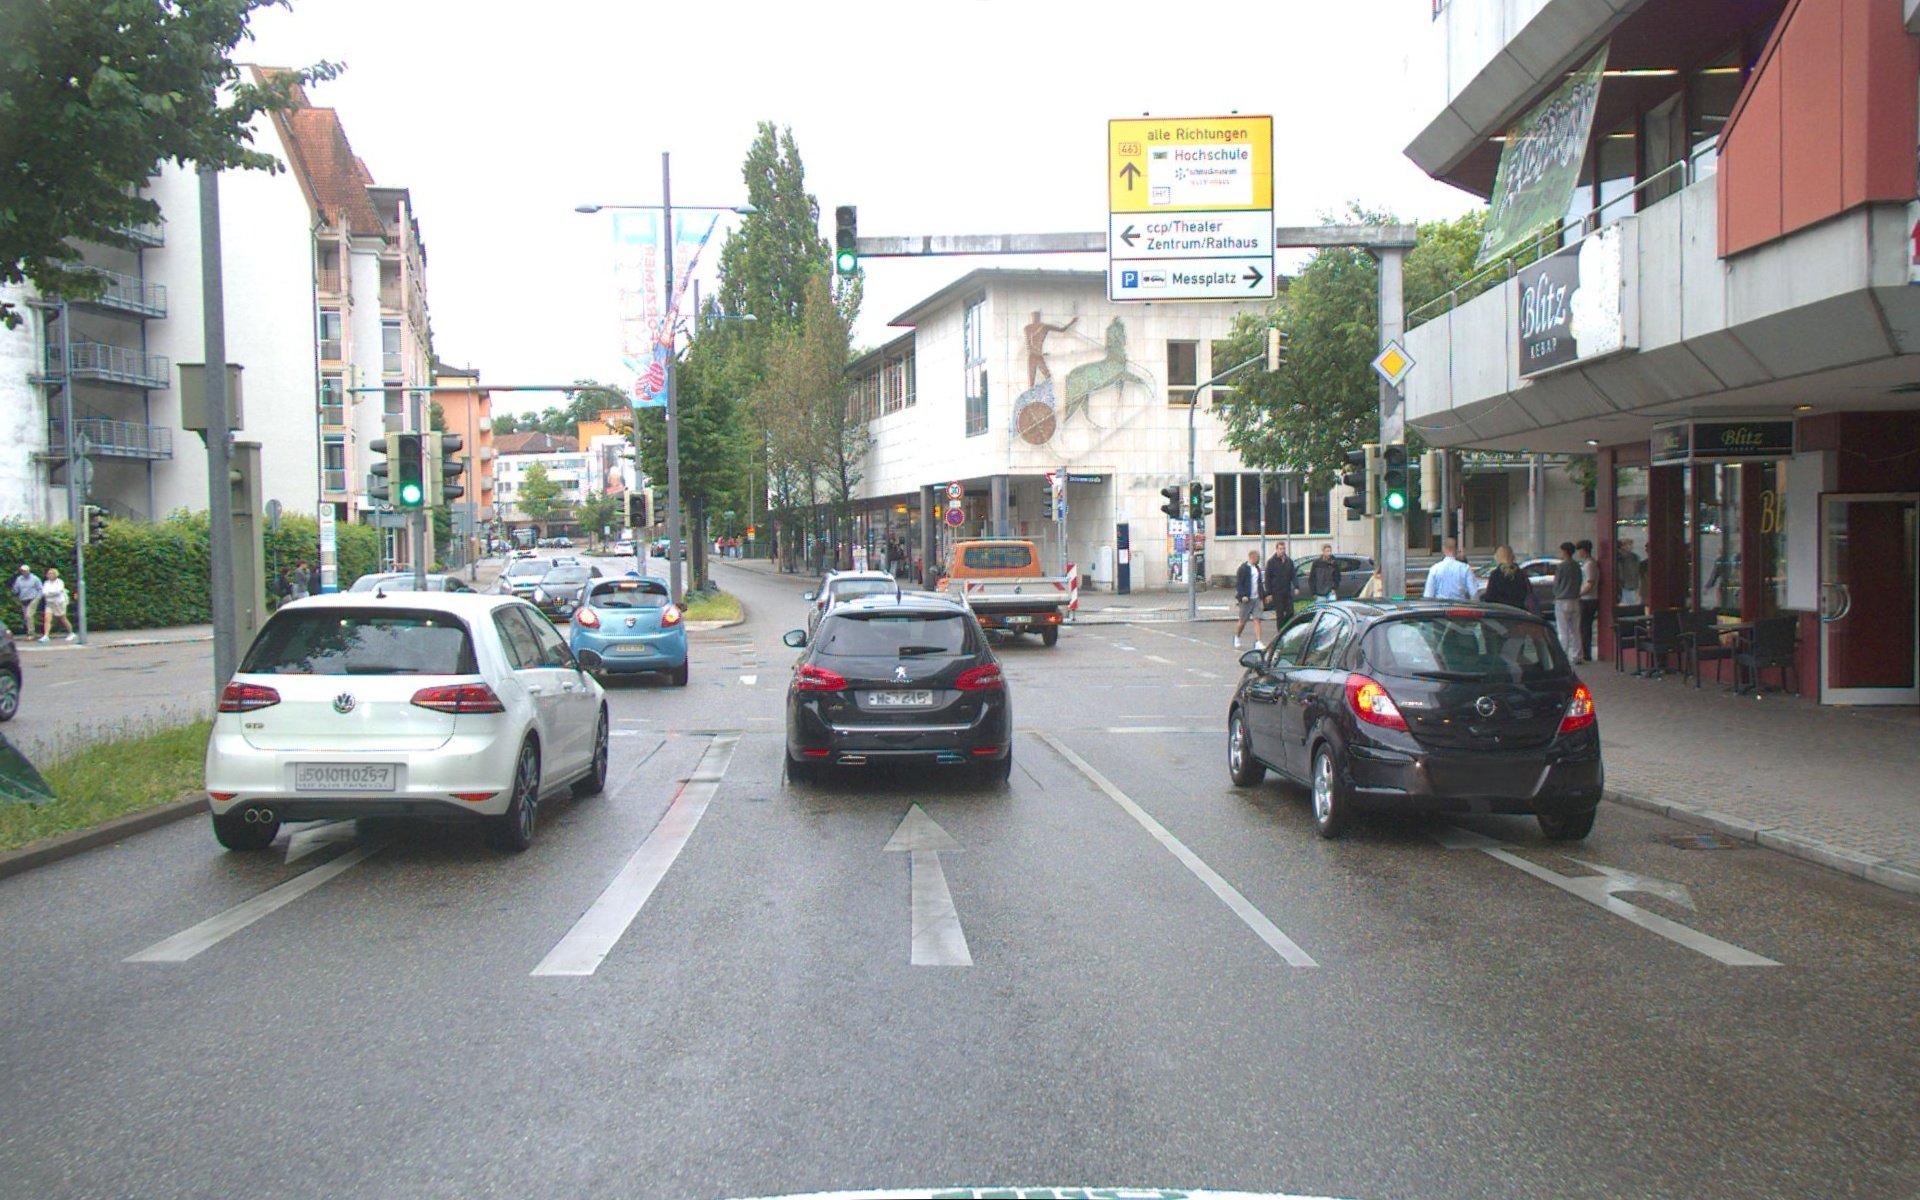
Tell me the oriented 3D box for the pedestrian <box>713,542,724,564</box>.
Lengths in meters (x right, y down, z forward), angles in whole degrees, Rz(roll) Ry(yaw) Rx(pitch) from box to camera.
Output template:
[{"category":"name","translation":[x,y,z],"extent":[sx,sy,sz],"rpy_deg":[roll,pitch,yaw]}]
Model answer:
[{"category":"pedestrian","translation":[-18.488,-3.631,126.670],"extent":[0.705,1.648,0.766],"rpy_deg":[-3,3,-15]}]

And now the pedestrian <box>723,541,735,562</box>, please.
[{"category":"pedestrian","translation":[-17.716,-3.739,126.887],"extent":[0.714,1.616,0.604],"rpy_deg":[-3,3,-15]}]

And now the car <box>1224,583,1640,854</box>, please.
[{"category":"car","translation":[3.033,0.667,11.439],"extent":[1.674,1.482,3.741],"rpy_deg":[0,2,-2]}]

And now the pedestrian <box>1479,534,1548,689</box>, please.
[{"category":"pedestrian","translation":[6.574,0.139,19.665],"extent":[0.609,1.804,0.677],"rpy_deg":[-1,-1,4]}]

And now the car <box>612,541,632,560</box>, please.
[{"category":"car","translation":[-31.493,-4.574,154.278],"extent":[1.617,1.591,3.586],"rpy_deg":[1,-1,-15]}]

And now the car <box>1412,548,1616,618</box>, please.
[{"category":"car","translation":[12.653,-0.422,37.826],"extent":[4.190,1.444,1.780],"rpy_deg":[-2,2,-16]}]

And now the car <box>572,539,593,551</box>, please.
[{"category":"car","translation":[-57.527,-8.353,251.861],"extent":[1.634,1.591,3.549],"rpy_deg":[2,-1,-39]}]

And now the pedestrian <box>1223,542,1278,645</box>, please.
[{"category":"pedestrian","translation":[5.225,-0.127,29.797],"extent":[0.734,1.810,0.887],"rpy_deg":[-1,0,-6]}]

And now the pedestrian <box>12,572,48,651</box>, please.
[{"category":"pedestrian","translation":[-21.526,0.255,38.289],"extent":[0.516,1.795,0.592],"rpy_deg":[1,2,-4]}]

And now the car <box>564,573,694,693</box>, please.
[{"category":"car","translation":[-4.809,0.408,23.995],"extent":[1.666,1.499,3.680],"rpy_deg":[-2,2,-12]}]

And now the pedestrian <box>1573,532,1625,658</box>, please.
[{"category":"pedestrian","translation":[9.201,-0.067,23.836],"extent":[0.515,1.794,0.511],"rpy_deg":[-1,-1,-2]}]

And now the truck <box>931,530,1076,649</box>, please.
[{"category":"truck","translation":[0.742,-0.235,31.807],"extent":[2.081,2.060,4.709],"rpy_deg":[-2,1,-7]}]

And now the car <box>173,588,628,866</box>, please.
[{"category":"car","translation":[-3.349,0.660,10.727],"extent":[1.730,1.434,3.998],"rpy_deg":[1,0,-3]}]

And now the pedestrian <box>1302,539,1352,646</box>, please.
[{"category":"pedestrian","translation":[6.770,-0.143,30.536],"extent":[0.718,1.929,0.676],"rpy_deg":[-1,0,-4]}]

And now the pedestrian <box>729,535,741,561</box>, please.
[{"category":"pedestrian","translation":[-16.423,-3.801,120.820],"extent":[0.643,1.797,0.919],"rpy_deg":[-3,3,-15]}]

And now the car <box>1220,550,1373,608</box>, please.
[{"category":"car","translation":[8.859,-0.557,43.820],"extent":[3.902,1.502,2.002],"rpy_deg":[0,1,9]}]

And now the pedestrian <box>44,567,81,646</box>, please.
[{"category":"pedestrian","translation":[-20.876,0.147,38.469],"extent":[0.516,1.795,0.592],"rpy_deg":[2,0,-5]}]

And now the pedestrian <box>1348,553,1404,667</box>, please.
[{"category":"pedestrian","translation":[6.408,0.145,25.506],"extent":[0.562,1.692,0.940],"rpy_deg":[-3,2,0]}]

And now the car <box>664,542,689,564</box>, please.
[{"category":"car","translation":[-22.044,-3.649,128.567],"extent":[1.617,1.591,3.586],"rpy_deg":[1,-1,-15]}]

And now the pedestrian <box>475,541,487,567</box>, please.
[{"category":"pedestrian","translation":[-33.280,-3.195,114.964],"extent":[0.686,1.825,0.956],"rpy_deg":[-1,1,-12]}]

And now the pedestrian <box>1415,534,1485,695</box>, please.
[{"category":"pedestrian","translation":[5.852,0.170,19.770],"extent":[0.609,1.879,0.848],"rpy_deg":[-1,-1,4]}]

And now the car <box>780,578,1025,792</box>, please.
[{"category":"car","translation":[-0.431,0.585,13.894],"extent":[1.758,1.509,4.000],"rpy_deg":[0,1,-1]}]

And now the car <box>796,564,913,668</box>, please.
[{"category":"car","translation":[-1.820,0.203,27.592],"extent":[1.760,1.509,3.996],"rpy_deg":[-2,2,-6]}]

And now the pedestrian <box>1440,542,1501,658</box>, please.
[{"category":"pedestrian","translation":[7.848,-0.015,25.451],"extent":[0.576,1.735,0.971],"rpy_deg":[-3,2,0]}]

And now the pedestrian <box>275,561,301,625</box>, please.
[{"category":"pedestrian","translation":[-19.046,-0.192,46.879],"extent":[0.516,1.795,0.630],"rpy_deg":[-1,-1,-6]}]

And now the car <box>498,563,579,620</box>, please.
[{"category":"car","translation":[-14.017,-0.308,55.247],"extent":[1.791,1.766,4.308],"rpy_deg":[-2,1,-4]}]

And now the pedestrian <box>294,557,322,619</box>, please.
[{"category":"pedestrian","translation":[-19.176,-0.340,48.651],"extent":[0.629,1.795,0.591],"rpy_deg":[-1,-1,-6]}]

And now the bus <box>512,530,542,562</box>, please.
[{"category":"bus","translation":[-46.419,-5.860,177.049],"extent":[2.700,3.128,12.185],"rpy_deg":[-2,4,-16]}]

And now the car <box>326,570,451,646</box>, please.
[{"category":"car","translation":[-12.861,0.146,37.421],"extent":[1.639,1.541,3.642],"rpy_deg":[-3,1,-3]}]

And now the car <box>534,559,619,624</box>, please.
[{"category":"car","translation":[-10.110,-0.257,43.779],"extent":[1.591,1.582,3.657],"rpy_deg":[-1,2,-4]}]

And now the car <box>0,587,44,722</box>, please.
[{"category":"car","translation":[-11.621,0.686,17.661],"extent":[1.586,1.517,3.877],"rpy_deg":[-3,1,-3]}]

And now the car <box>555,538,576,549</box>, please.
[{"category":"car","translation":[-59.119,-8.476,247.867],"extent":[1.634,1.591,3.549],"rpy_deg":[2,-1,-39]}]

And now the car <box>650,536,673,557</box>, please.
[{"category":"car","translation":[-25.846,-4.618,143.127],"extent":[1.617,1.591,3.586],"rpy_deg":[1,-1,-15]}]

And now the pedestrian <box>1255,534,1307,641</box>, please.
[{"category":"pedestrian","translation":[5.934,-0.233,30.638],"extent":[0.743,1.934,0.789],"rpy_deg":[-1,0,-3]}]

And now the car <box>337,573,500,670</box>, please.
[{"category":"car","translation":[-9.463,0.326,29.209],"extent":[1.679,1.504,3.955],"rpy_deg":[-3,1,-3]}]

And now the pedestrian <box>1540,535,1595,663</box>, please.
[{"category":"pedestrian","translation":[8.654,-0.010,23.573],"extent":[0.583,1.794,0.492],"rpy_deg":[-1,-1,-2]}]
